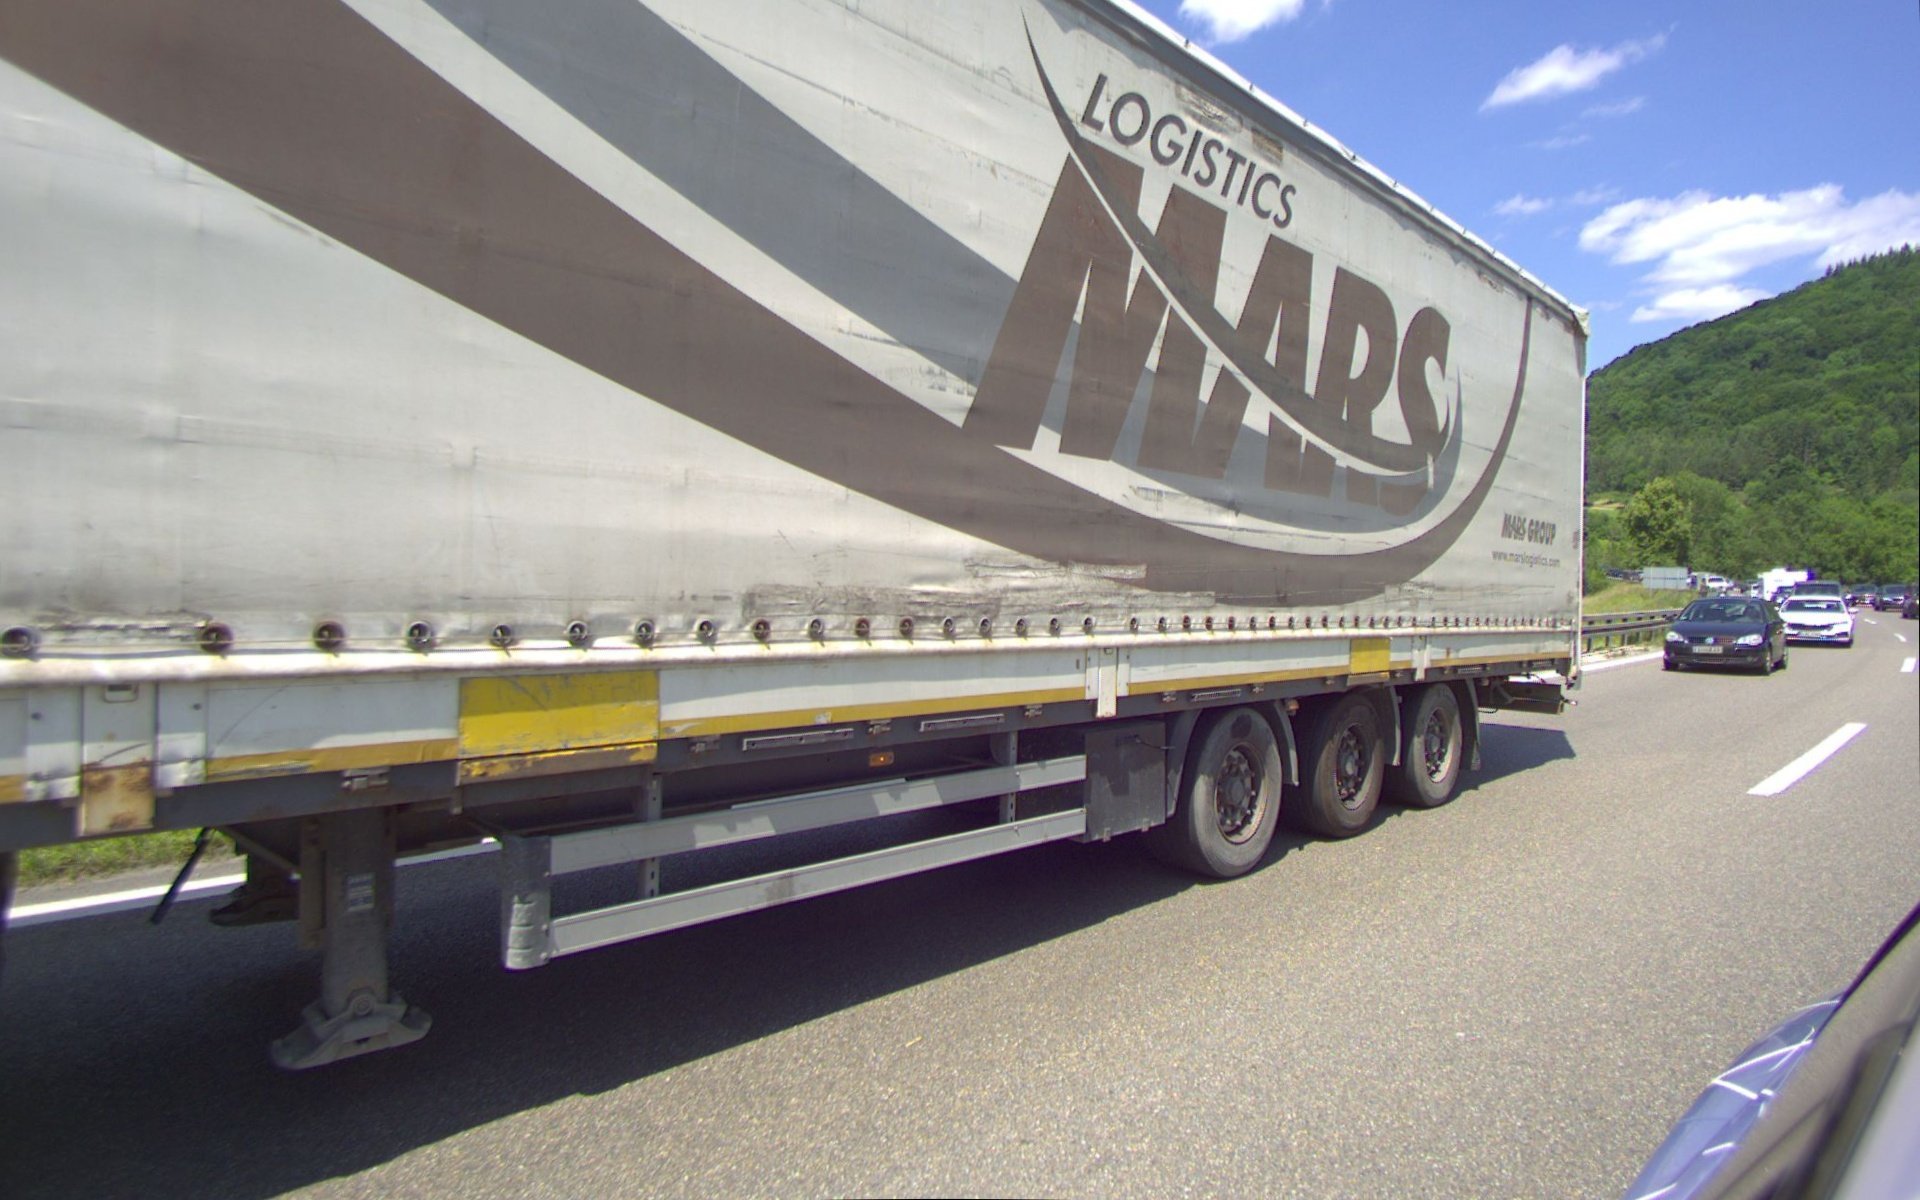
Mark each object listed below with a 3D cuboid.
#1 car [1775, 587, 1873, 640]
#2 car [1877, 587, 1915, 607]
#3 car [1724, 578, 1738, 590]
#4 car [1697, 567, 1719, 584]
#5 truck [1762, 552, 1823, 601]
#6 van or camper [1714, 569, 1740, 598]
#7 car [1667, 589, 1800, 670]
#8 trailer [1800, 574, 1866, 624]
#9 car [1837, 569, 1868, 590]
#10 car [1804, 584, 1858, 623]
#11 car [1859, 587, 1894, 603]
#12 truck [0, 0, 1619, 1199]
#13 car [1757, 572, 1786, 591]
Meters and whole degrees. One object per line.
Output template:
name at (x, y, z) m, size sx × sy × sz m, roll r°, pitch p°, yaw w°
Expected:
car at (25.275, 0.349, 29.574) m, size 1.903 × 1.448 × 3.662 m, roll -1°, pitch 0°, yaw 45°
car at (56.711, -0.200, 61.365) m, size 1.485 × 1.123 × 3.168 m, roll 0°, pitch 1°, yaw 40°
car at (95.179, -1.975, 124.894) m, size 1.238 × 1.497 × 2.922 m, roll -2°, pitch -1°, yaw 36°
car at (88.967, -2.912, 120.411) m, size 1.987 × 2.039 × 3.951 m, roll 0°, pitch 0°, yaw 35°
truck at (58.383, -1.586, 71.122) m, size 2.586 × 3.147 × 6.774 m, roll -2°, pitch -1°, yaw 34°
van or camper at (84.953, -1.826, 112.147) m, size 1.897 × 3.065 × 4.817 m, roll 1°, pitch 1°, yaw 33°
car at (15.329, 0.503, 19.988) m, size 1.691 × 1.440 × 3.778 m, roll 0°, pitch 0°, yaw 44°
trailer at (36.626, -0.048, 42.518) m, size 1.991 × 1.994 × 3.942 m, roll 1°, pitch 0°, yaw 40°
car at (74.738, -1.707, 84.802) m, size 1.521 × 1.658 × 3.376 m, roll -2°, pitch -1°, yaw 35°
car at (34.102, 0.112, 39.609) m, size 1.484 × 1.400 × 3.682 m, roll 4°, pitch 3°, yaw 42°
car at (64.473, -0.344, 71.220) m, size 1.483 × 1.123 × 3.172 m, roll 0°, pitch 1°, yaw 37°
truck at (0.220, -0.766, 5.677) m, size 13.512 × 4.118 × 2.729 m, roll -1°, pitch 1°, yaw -43°
car at (69.563, -1.556, 86.810) m, size 1.689 × 1.552 × 3.633 m, roll -2°, pitch -1°, yaw 36°
